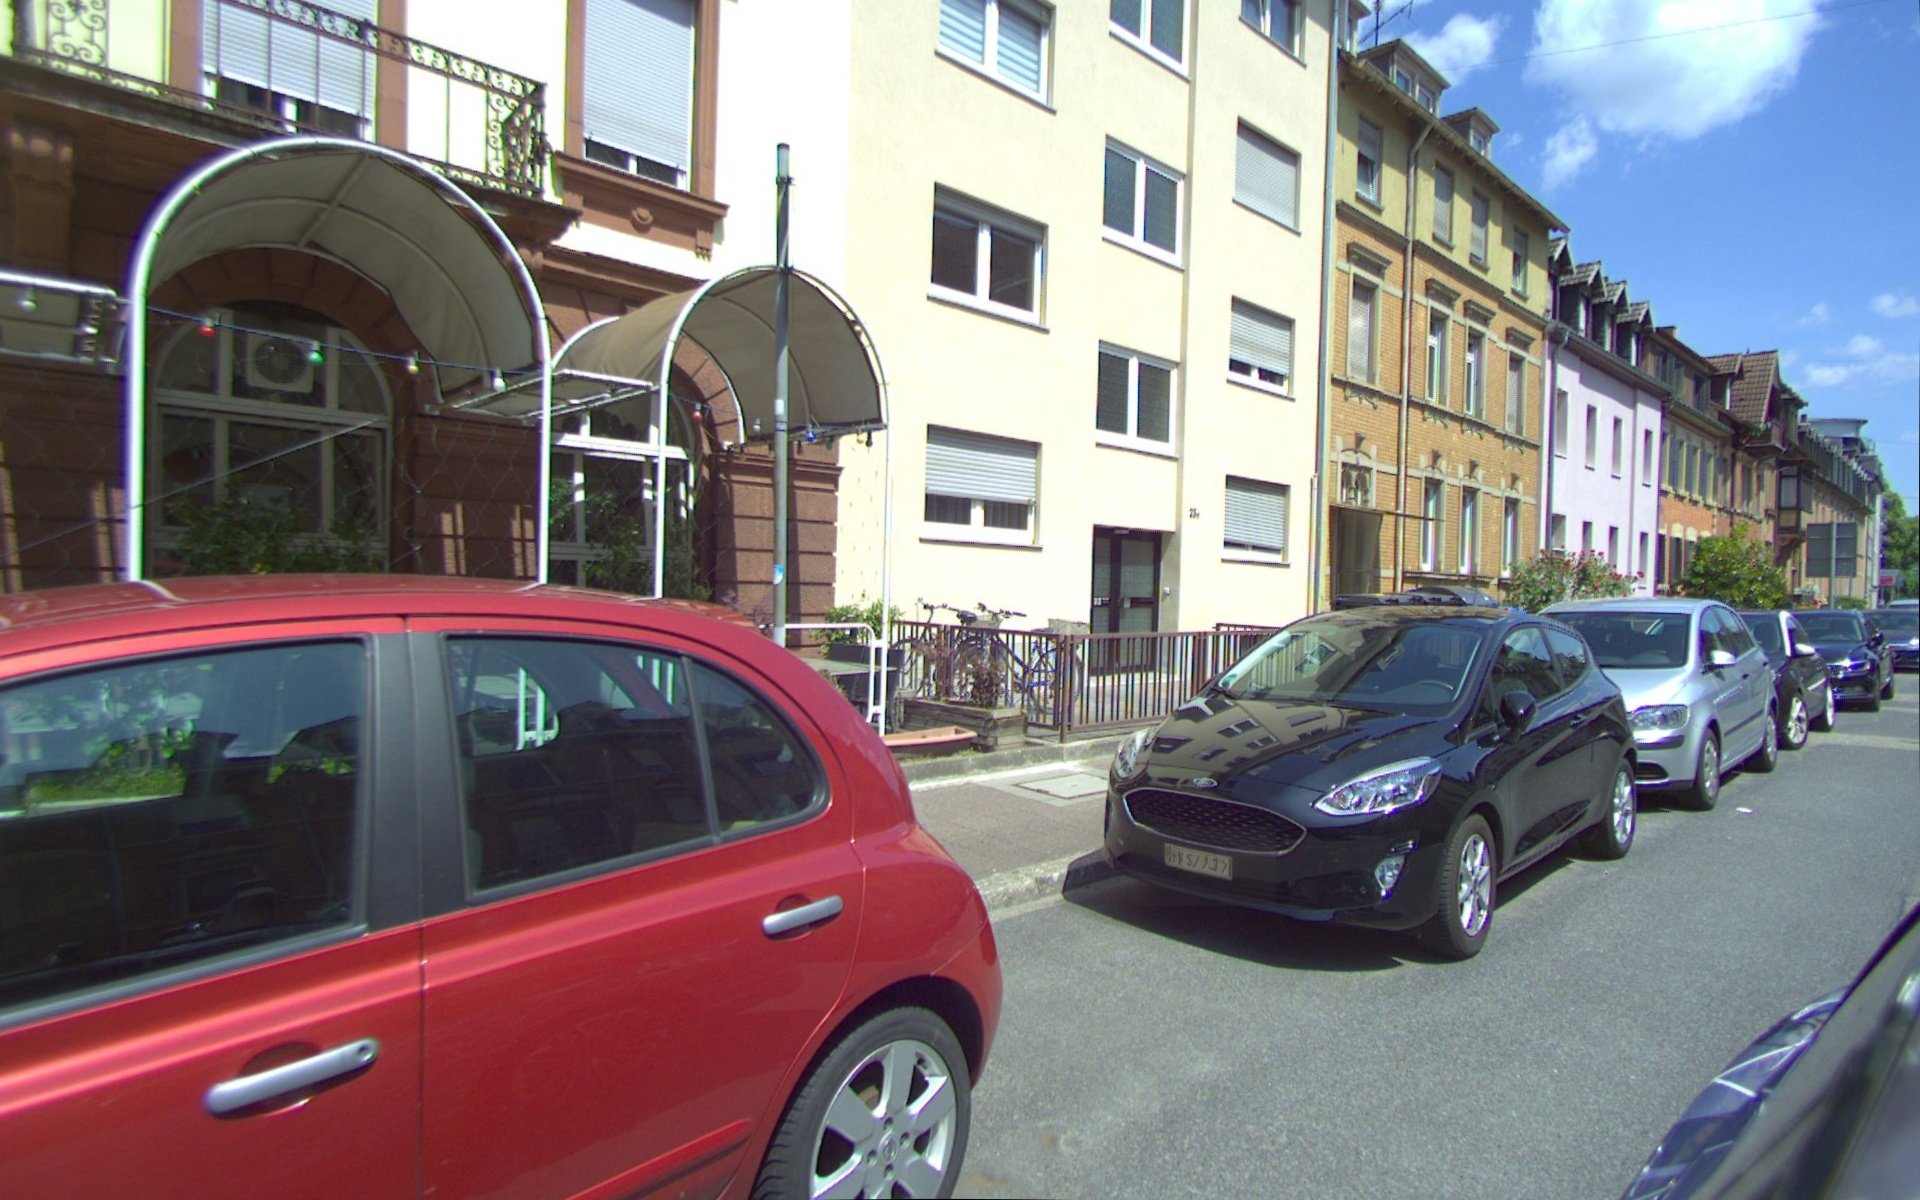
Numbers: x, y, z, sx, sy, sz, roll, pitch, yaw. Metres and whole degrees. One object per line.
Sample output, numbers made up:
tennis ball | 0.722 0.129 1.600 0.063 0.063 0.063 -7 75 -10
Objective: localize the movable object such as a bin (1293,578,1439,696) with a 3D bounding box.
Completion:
movable object such as a bin | 5.317 0.442 13.249 1.388 1.413 1.284 0 1 -42

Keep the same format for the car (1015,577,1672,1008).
car | 2.282 0.685 5.490 3.863 1.498 1.759 0 -1 -42

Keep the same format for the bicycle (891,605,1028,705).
bicycle | 0.026 0.557 11.019 0.550 0.995 1.605 1 0 42

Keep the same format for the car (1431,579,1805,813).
car | 5.858 0.663 8.822 3.996 1.571 1.759 0 -1 -42

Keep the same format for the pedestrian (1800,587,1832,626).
pedestrian | 42.029 0.306 49.688 0.964 1.885 1.055 1 1 -43

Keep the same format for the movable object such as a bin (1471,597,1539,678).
movable object such as a bin | 8.519 0.568 15.817 0.735 1.203 0.722 1 1 -44

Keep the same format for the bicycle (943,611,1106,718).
bicycle | 0.664 0.613 10.137 1.597 0.995 0.553 1 0 -32

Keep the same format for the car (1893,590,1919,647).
car | 30.860 0.562 32.004 3.865 1.732 1.705 0 -1 -44

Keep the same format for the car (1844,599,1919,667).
car | 22.498 0.745 24.188 3.865 1.498 1.705 0 -1 -44

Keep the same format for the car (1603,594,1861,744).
car | 9.336 0.710 12.134 3.863 1.498 1.759 0 -1 -42

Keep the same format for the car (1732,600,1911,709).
car | 13.701 0.763 16.004 4.346 1.498 1.758 0 -1 -45

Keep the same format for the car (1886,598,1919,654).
car | 27.008 0.687 28.054 3.865 1.498 1.705 0 -1 -44

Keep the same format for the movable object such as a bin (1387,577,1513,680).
movable object such as a bin | 7.310 0.396 15.105 1.282 1.428 1.284 0 1 -42

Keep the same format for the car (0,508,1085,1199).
car | -1.599 0.659 1.851 1.757 1.498 3.724 -2 -1 44

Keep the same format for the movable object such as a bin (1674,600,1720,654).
movable object such as a bin | 17.926 0.634 24.601 0.863 1.257 0.752 0 1 -44

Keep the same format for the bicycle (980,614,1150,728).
bicycle | 1.014 0.637 9.631 1.597 0.995 0.553 1 0 -32

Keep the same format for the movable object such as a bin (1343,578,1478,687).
movable object such as a bin | 6.320 0.419 14.216 1.341 1.413 1.284 0 1 -42
